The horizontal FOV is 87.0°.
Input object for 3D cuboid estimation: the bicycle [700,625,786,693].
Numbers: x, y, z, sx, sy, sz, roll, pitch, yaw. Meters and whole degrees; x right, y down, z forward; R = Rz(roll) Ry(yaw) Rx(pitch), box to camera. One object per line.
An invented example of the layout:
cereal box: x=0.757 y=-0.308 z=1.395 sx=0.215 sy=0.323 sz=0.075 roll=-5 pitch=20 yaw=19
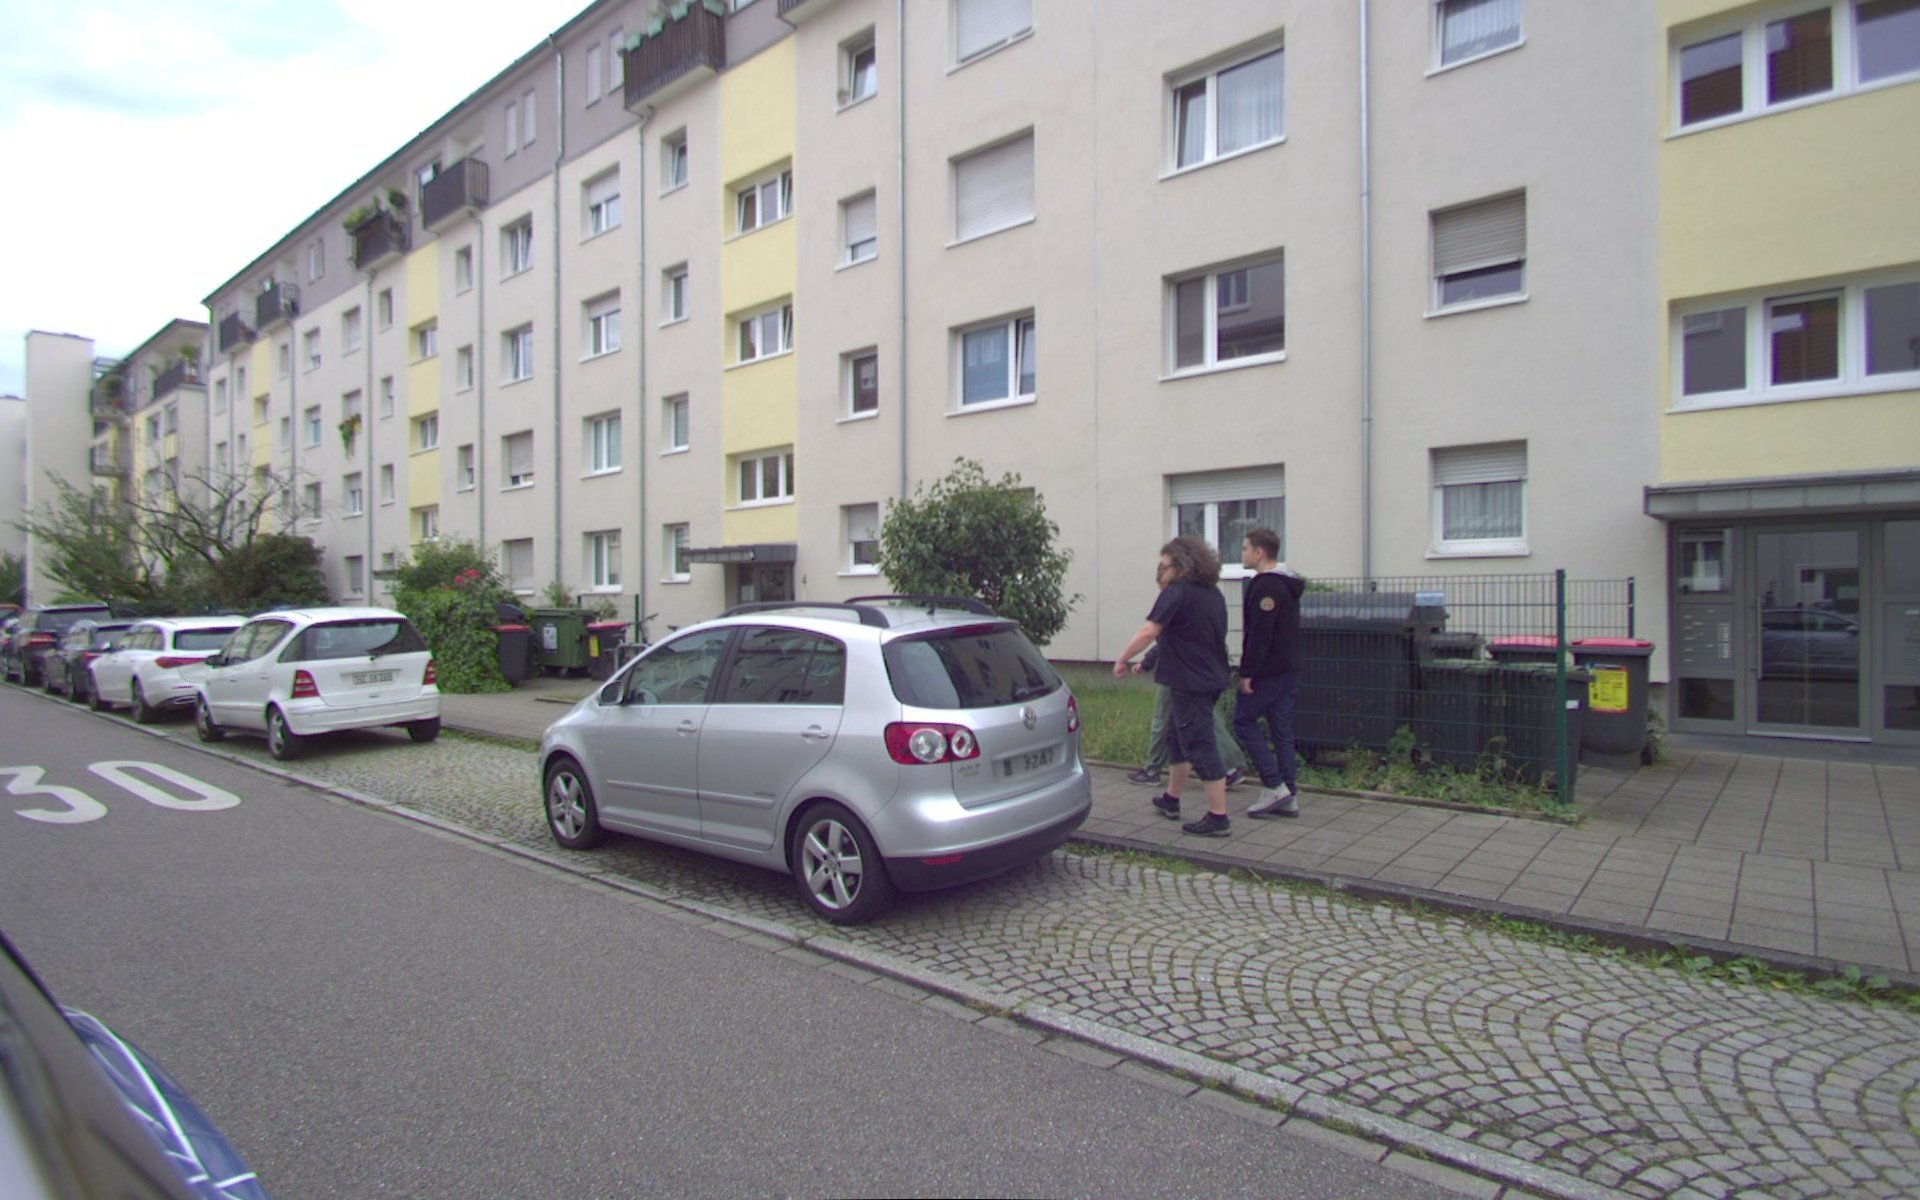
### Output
bicycle: x=-3.440 y=0.908 z=15.962 sx=1.557 sy=1.032 sz=0.416 roll=-1 pitch=-1 yaw=38

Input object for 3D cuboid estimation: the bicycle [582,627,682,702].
bicycle: x=-4.785 y=0.906 z=14.692 sx=1.877 sy=1.032 sz=0.483 roll=-1 pitch=-1 yaw=41

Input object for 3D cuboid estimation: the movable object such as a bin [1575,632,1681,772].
movable object such as a bin: x=5.512 y=0.800 z=8.342 sx=0.633 sy=1.059 sz=0.855 roll=-2 pitch=-1 yaw=39

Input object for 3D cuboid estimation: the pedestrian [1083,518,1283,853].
pedestrian: x=1.364 y=0.479 z=6.232 sx=0.973 sy=1.877 sz=0.633 roll=-1 pitch=1 yaw=41

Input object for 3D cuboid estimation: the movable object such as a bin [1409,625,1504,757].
movable object such as a bin: x=4.530 y=0.795 z=9.223 sx=0.597 sy=1.125 sz=0.834 roll=-2 pitch=-1 yaw=38

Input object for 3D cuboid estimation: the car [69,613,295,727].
car: x=-12.161 y=1.001 z=15.710 sx=4.681 sy=1.521 sz=1.702 roll=-2 pitch=-1 yaw=38

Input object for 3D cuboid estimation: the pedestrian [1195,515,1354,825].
pedestrian: x=2.056 y=0.427 z=6.612 sx=0.763 sy=1.868 sz=0.699 roll=-1 pitch=-1 yaw=40

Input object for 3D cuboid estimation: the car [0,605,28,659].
car: x=-33.486 y=1.109 z=34.729 sx=3.537 sy=1.820 sz=1.686 roll=-2 pitch=-1 yaw=38

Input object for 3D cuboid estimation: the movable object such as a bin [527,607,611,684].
movable object such as a bin: x=-7.472 y=0.835 z=19.347 sx=1.187 sy=1.385 sz=1.047 roll=1 pitch=1 yaw=36

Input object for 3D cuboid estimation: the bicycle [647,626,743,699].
bicycle: x=-4.022 y=0.917 z=15.308 sx=1.753 sy=1.032 sz=0.473 roll=-1 pitch=-1 yaw=40

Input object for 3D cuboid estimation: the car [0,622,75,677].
car: x=-25.641 y=1.321 z=27.660 sx=3.537 sy=1.407 sz=1.556 roll=-2 pitch=-1 yaw=38

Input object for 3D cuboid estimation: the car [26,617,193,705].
car: x=-16.094 y=1.054 z=19.080 sx=4.480 sy=1.464 sz=1.707 roll=-1 pitch=-1 yaw=41

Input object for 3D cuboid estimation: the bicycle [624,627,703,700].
bicycle: x=-4.402 y=0.923 z=14.987 sx=1.496 sy=1.032 sz=0.352 roll=-1 pitch=-1 yaw=40

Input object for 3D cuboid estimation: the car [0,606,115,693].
car: x=-20.695 y=1.077 z=22.972 sx=4.448 sy=1.793 sz=1.555 roll=-2 pitch=-1 yaw=40

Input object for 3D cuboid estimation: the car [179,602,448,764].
car: x=-7.836 y=0.876 z=12.155 sx=3.724 sy=1.651 sz=1.668 roll=-1 pitch=-1 yaw=39

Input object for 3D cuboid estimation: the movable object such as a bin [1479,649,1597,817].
movable object such as a bin: x=3.902 y=0.861 z=6.828 sx=0.597 sy=1.041 sz=0.531 roll=-2 pitch=-1 yaw=39

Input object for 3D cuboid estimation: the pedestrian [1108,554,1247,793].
pedestrian: x=1.620 y=0.520 z=7.555 sx=0.802 sy=1.669 sz=0.608 roll=-1 pitch=-1 yaw=41

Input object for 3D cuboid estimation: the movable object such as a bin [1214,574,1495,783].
movable object such as a bin: x=3.160 y=0.555 z=8.092 sx=1.670 sy=1.432 sz=1.573 roll=-2 pitch=-1 yaw=40

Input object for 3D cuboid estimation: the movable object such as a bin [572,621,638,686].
movable object such as a bin: x=-6.576 y=0.972 z=18.752 sx=0.786 sy=1.117 sz=0.861 roll=1 pitch=1 yaw=36

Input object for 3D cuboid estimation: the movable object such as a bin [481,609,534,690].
movable object such as a bin: x=-8.008 y=0.853 z=17.912 sx=0.587 sy=1.378 sz=0.651 roll=0 pitch=1 yaw=36

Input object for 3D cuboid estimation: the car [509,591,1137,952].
car: x=-1.040 y=0.777 z=6.298 sx=3.911 sy=1.562 sz=1.638 roll=-1 pitch=0 yaw=39

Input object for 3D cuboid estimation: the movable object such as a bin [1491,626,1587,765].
movable object such as a bin: x=5.047 y=0.798 z=8.806 sx=0.597 sy=1.125 sz=0.834 roll=-2 pitch=-1 yaw=38

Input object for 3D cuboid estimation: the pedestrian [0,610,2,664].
pedestrian: x=-30.055 y=1.151 z=31.260 sx=0.621 sy=1.679 sz=0.596 roll=-1 pitch=-1 yaw=38
